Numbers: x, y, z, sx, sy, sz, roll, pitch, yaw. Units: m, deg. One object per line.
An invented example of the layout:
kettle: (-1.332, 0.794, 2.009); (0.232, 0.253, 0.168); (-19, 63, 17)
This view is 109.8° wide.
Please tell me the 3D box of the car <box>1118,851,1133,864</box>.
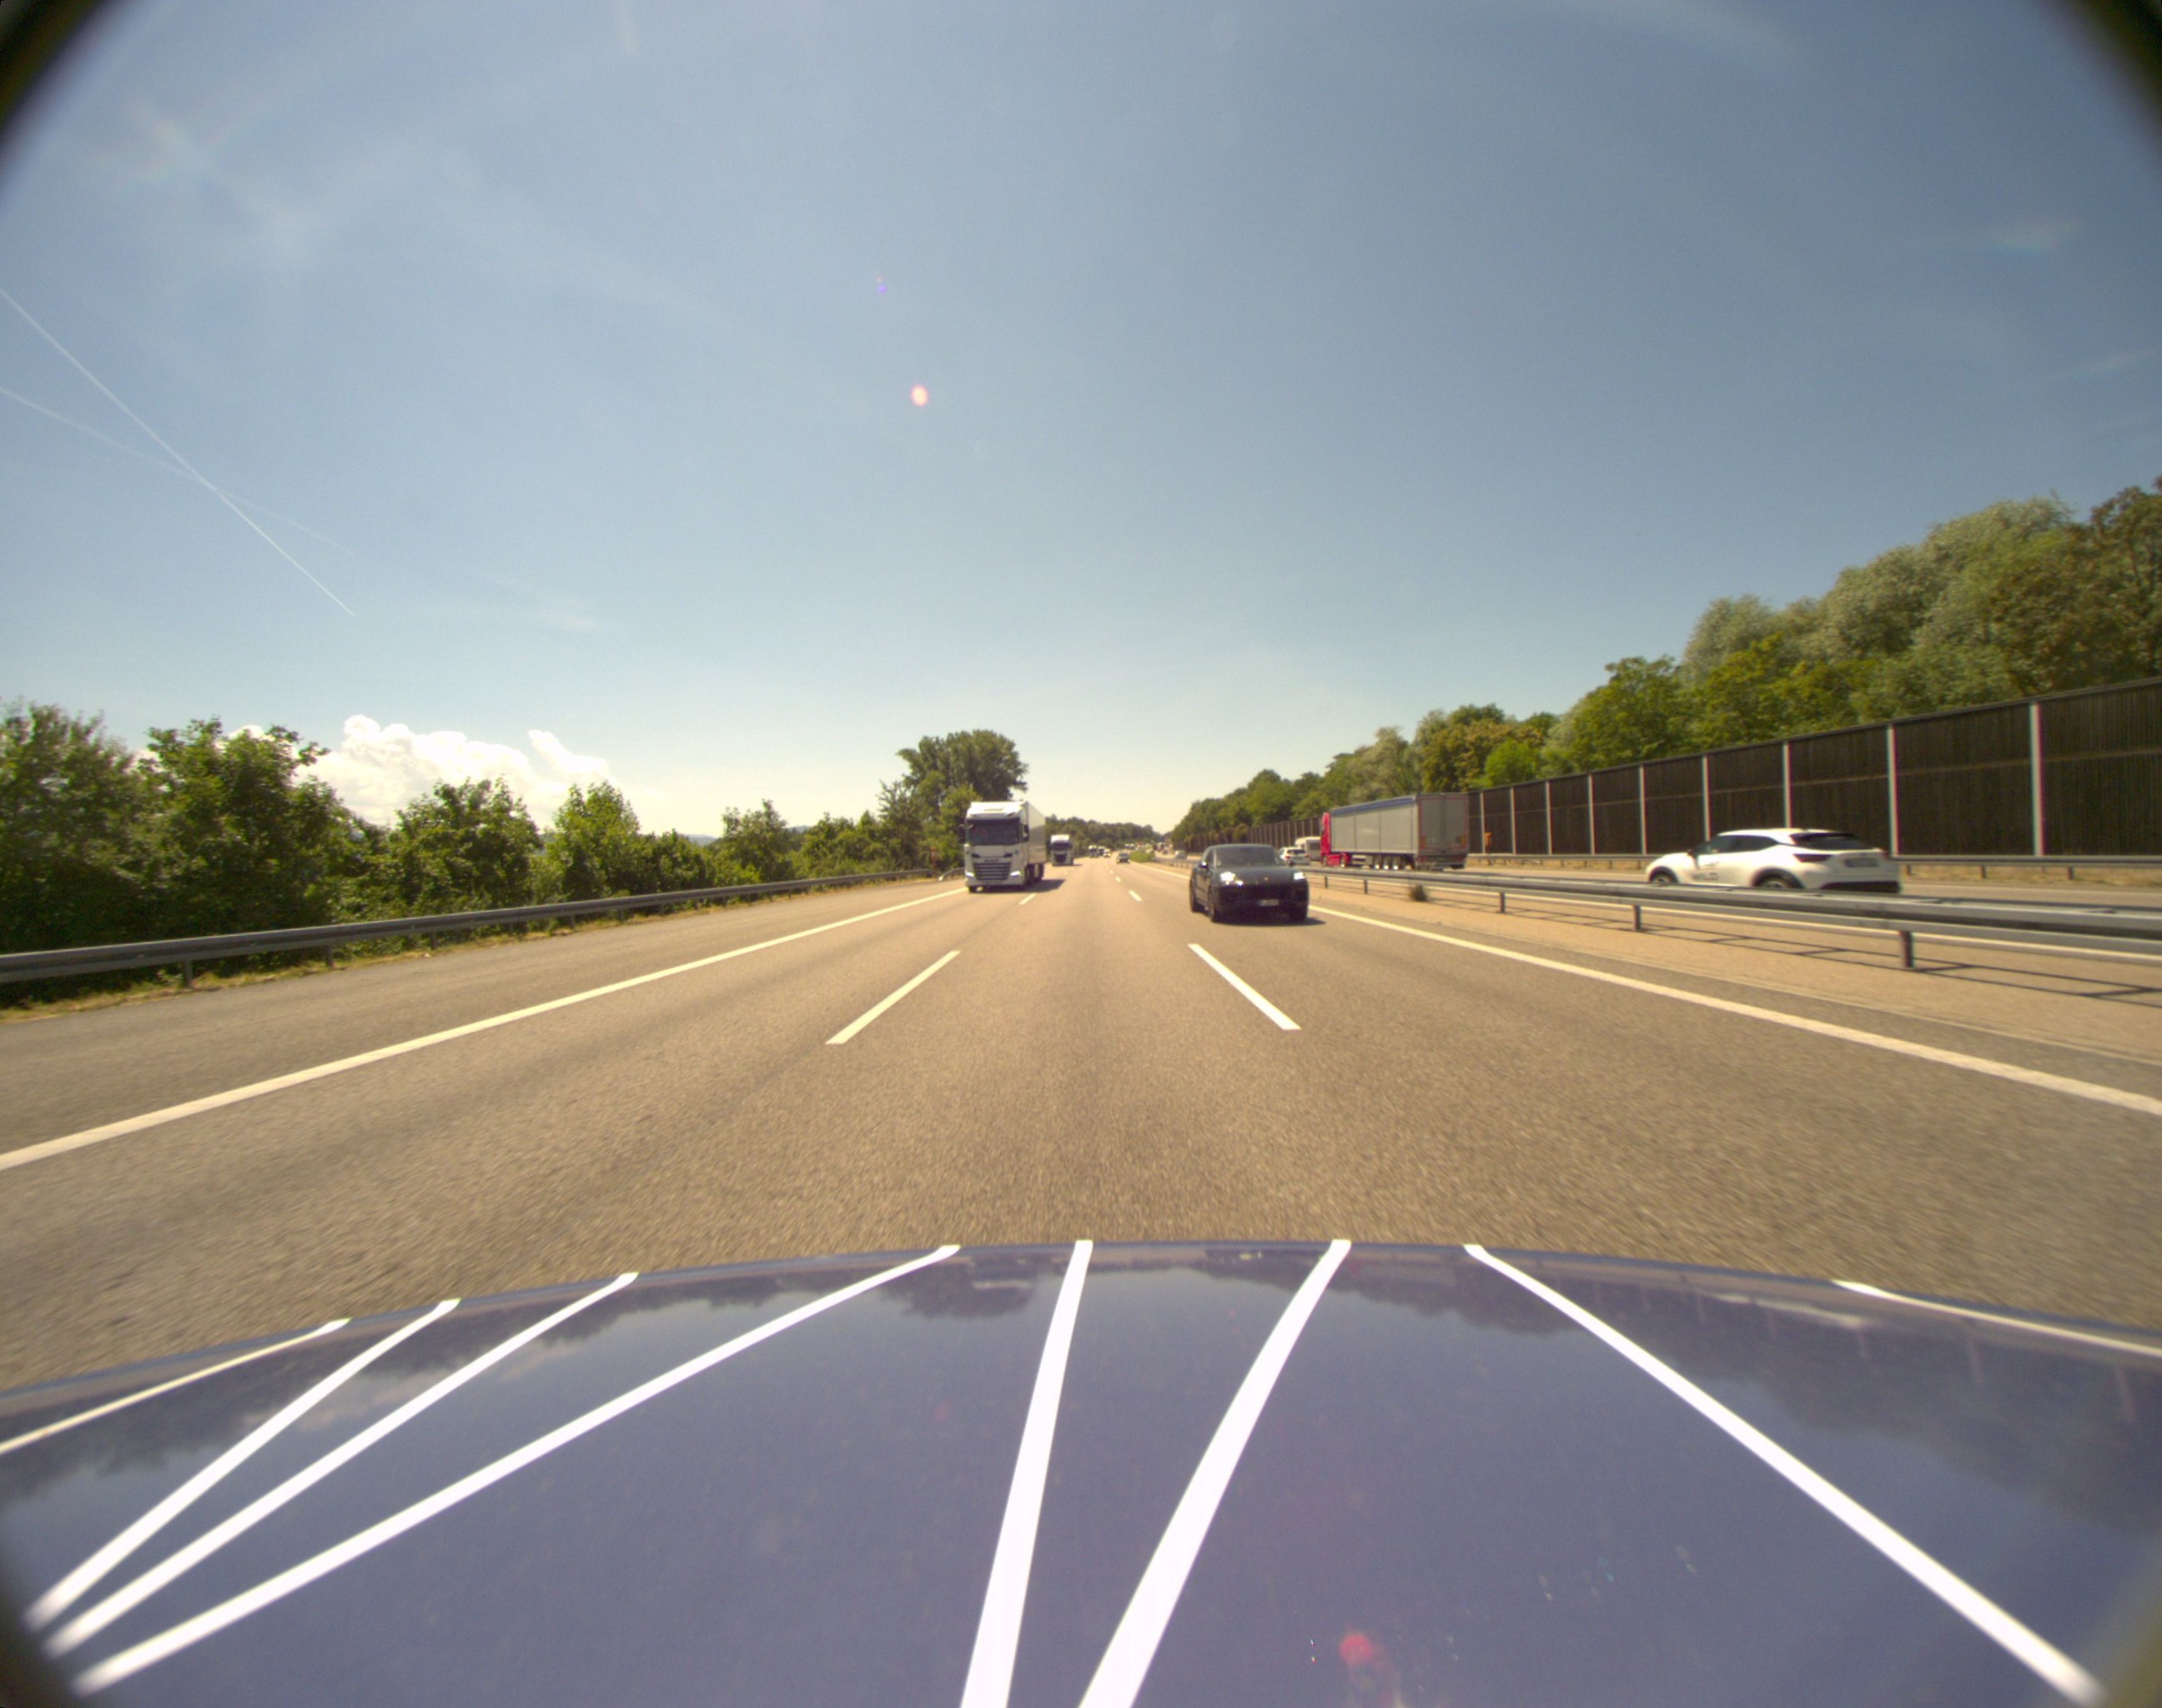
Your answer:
car: (6.294, 0.486, 106.653); (1.908, 1.717, 4.377); (-2, 0, 6)

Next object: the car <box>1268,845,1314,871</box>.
car: (13.333, 0.227, 48.511); (1.809, 1.535, 4.245); (-2, 0, 1)

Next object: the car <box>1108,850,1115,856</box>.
car: (9.788, -0.302, 242.811); (1.908, 1.717, 4.872); (-2, 0, 6)

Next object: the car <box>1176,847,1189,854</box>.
car: (20.881, -0.737, 156.998); (2.129, 1.513, 5.982); (-2, 0, 2)

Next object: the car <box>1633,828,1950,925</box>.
car: (13.308, 0.363, 14.739); (1.924, 1.537, 4.582); (-2, 0, 1)

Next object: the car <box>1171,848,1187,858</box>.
car: (15.508, -0.209, 120.113); (1.904, 1.512, 4.419); (-1, 0, 1)

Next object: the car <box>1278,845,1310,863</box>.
car: (21.627, -0.043, 77.283); (1.904, 1.701, 4.906); (-1, 0, 0)

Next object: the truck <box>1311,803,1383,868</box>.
truck: (17.894, -1.177, 51.608); (2.364, 4.052, 7.153); (-2, 0, 1)

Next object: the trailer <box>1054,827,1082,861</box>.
trailer: (-1.759, -1.340, 107.000); (2.541, 4.446, 14.163); (-1, 0, 4)

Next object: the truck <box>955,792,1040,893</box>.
truck: (-3.627, -0.489, 34.584); (2.966, 4.082, 6.207); (-2, 0, 1)

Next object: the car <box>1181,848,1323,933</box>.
car: (3.730, 0.704, 17.754); (2.049, 1.615, 5.771); (-2, 0, 1)

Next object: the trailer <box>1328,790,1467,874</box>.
trailer: (17.758, -1.106, 44.241); (2.347, 4.052, 14.209); (-2, 0, 1)

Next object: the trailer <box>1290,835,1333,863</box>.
trailer: (21.639, -0.428, 71.701); (2.136, 2.462, 6.268); (-1, 0, 0)

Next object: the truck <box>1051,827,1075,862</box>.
truck: (-2.281, -1.277, 100.049); (2.541, 4.446, 5.573); (-2, 1, 4)

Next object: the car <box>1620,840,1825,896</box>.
car: (17.803, 0.337, 21.437); (1.924, 1.367, 4.581); (-2, 0, 0)

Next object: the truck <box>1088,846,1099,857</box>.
truck: (4.196, -0.881, 251.254); (3.073, 3.617, 12.403); (-2, 0, 3)

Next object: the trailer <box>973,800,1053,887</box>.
trailer: (-3.479, -0.524, 42.290); (2.966, 4.082, 12.532); (-2, 0, 1)
